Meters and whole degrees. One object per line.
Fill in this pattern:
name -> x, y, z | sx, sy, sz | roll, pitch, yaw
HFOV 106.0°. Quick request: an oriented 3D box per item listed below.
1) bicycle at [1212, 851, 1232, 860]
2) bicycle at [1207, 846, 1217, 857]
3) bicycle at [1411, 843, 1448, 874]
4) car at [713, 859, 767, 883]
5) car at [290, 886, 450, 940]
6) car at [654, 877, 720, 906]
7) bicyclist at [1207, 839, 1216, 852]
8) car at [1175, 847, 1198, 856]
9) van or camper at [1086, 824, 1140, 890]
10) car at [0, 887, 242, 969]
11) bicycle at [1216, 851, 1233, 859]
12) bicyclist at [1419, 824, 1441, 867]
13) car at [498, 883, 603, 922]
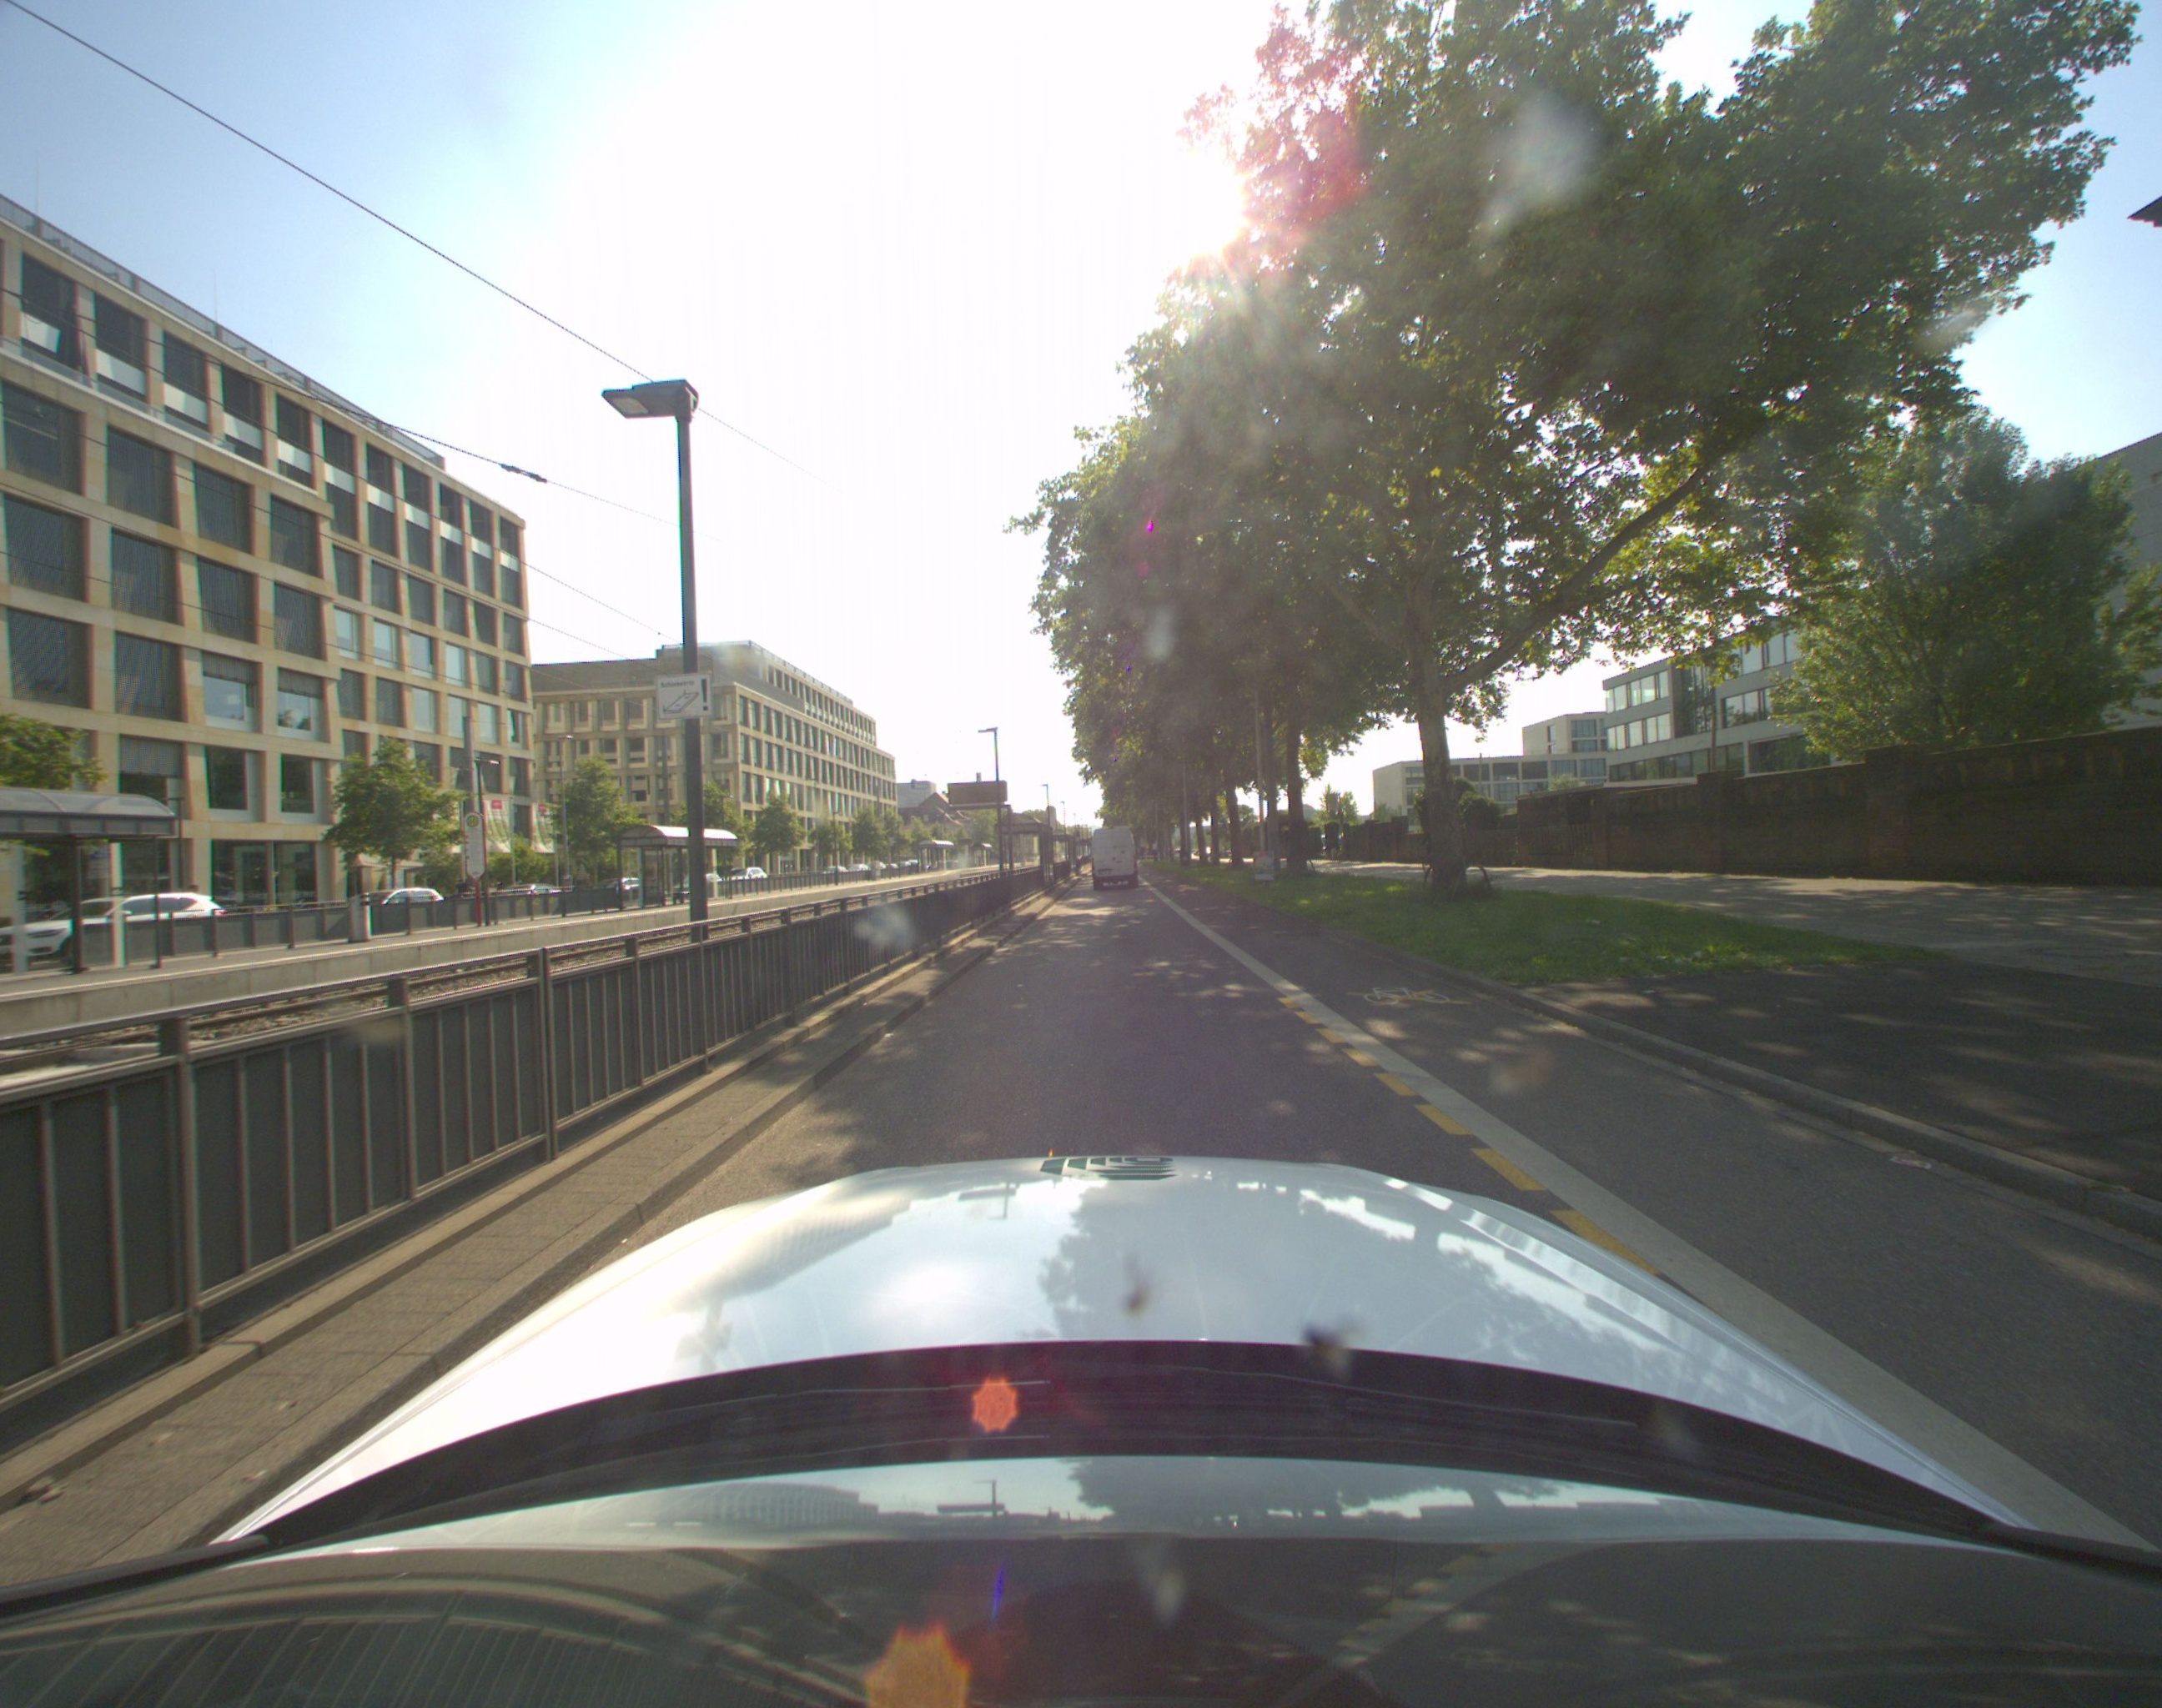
bicycle -> 16.597, 0.157, 95.742 | 2.171, 0.847, 0.503 | -4, 0, 2
bicycle -> 13.153, -0.261, 81.762 | 0.679, 1.005, 2.218 | -4, 0, 1
bicycle -> 12.632, 0.156, 29.575 | 0.490, 1.089, 1.856 | -3, 0, -1
car -> -23.102, 1.125, 55.294 | 1.678, 1.407, 4.371 | -3, 0, 1
car -> -23.859, 1.928, 27.543 | 1.783, 1.407, 4.001 | -3, 0, 1
car -> -23.406, 2.184, 48.573 | 1.678, 1.407, 4.374 | -3, 0, 1
bicyclist -> 13.099, -0.817, 81.766 | 0.667, 1.276, 0.728 | -4, 0, 1
car -> 19.305, -0.473, 148.807 | 3.972, 1.376, 2.001 | -1, -1, 1
van or camper -> 1.351, 0.124, 36.577 | 2.109, 2.682, 5.248 | -1, 0, -1
car -> -24.358, 1.777, 20.581 | 1.784, 1.625, 4.319 | -3, 0, -1
bicycle -> 17.394, 0.099, 98.740 | 1.925, 0.847, 0.372 | -4, 0, 2
bicyclist -> 12.628, -0.301, 29.497 | 0.468, 1.539, 0.596 | -3, 0, -1
car -> -23.734, 2.123, 36.642 | 1.678, 1.407, 4.374 | -3, 0, 1
